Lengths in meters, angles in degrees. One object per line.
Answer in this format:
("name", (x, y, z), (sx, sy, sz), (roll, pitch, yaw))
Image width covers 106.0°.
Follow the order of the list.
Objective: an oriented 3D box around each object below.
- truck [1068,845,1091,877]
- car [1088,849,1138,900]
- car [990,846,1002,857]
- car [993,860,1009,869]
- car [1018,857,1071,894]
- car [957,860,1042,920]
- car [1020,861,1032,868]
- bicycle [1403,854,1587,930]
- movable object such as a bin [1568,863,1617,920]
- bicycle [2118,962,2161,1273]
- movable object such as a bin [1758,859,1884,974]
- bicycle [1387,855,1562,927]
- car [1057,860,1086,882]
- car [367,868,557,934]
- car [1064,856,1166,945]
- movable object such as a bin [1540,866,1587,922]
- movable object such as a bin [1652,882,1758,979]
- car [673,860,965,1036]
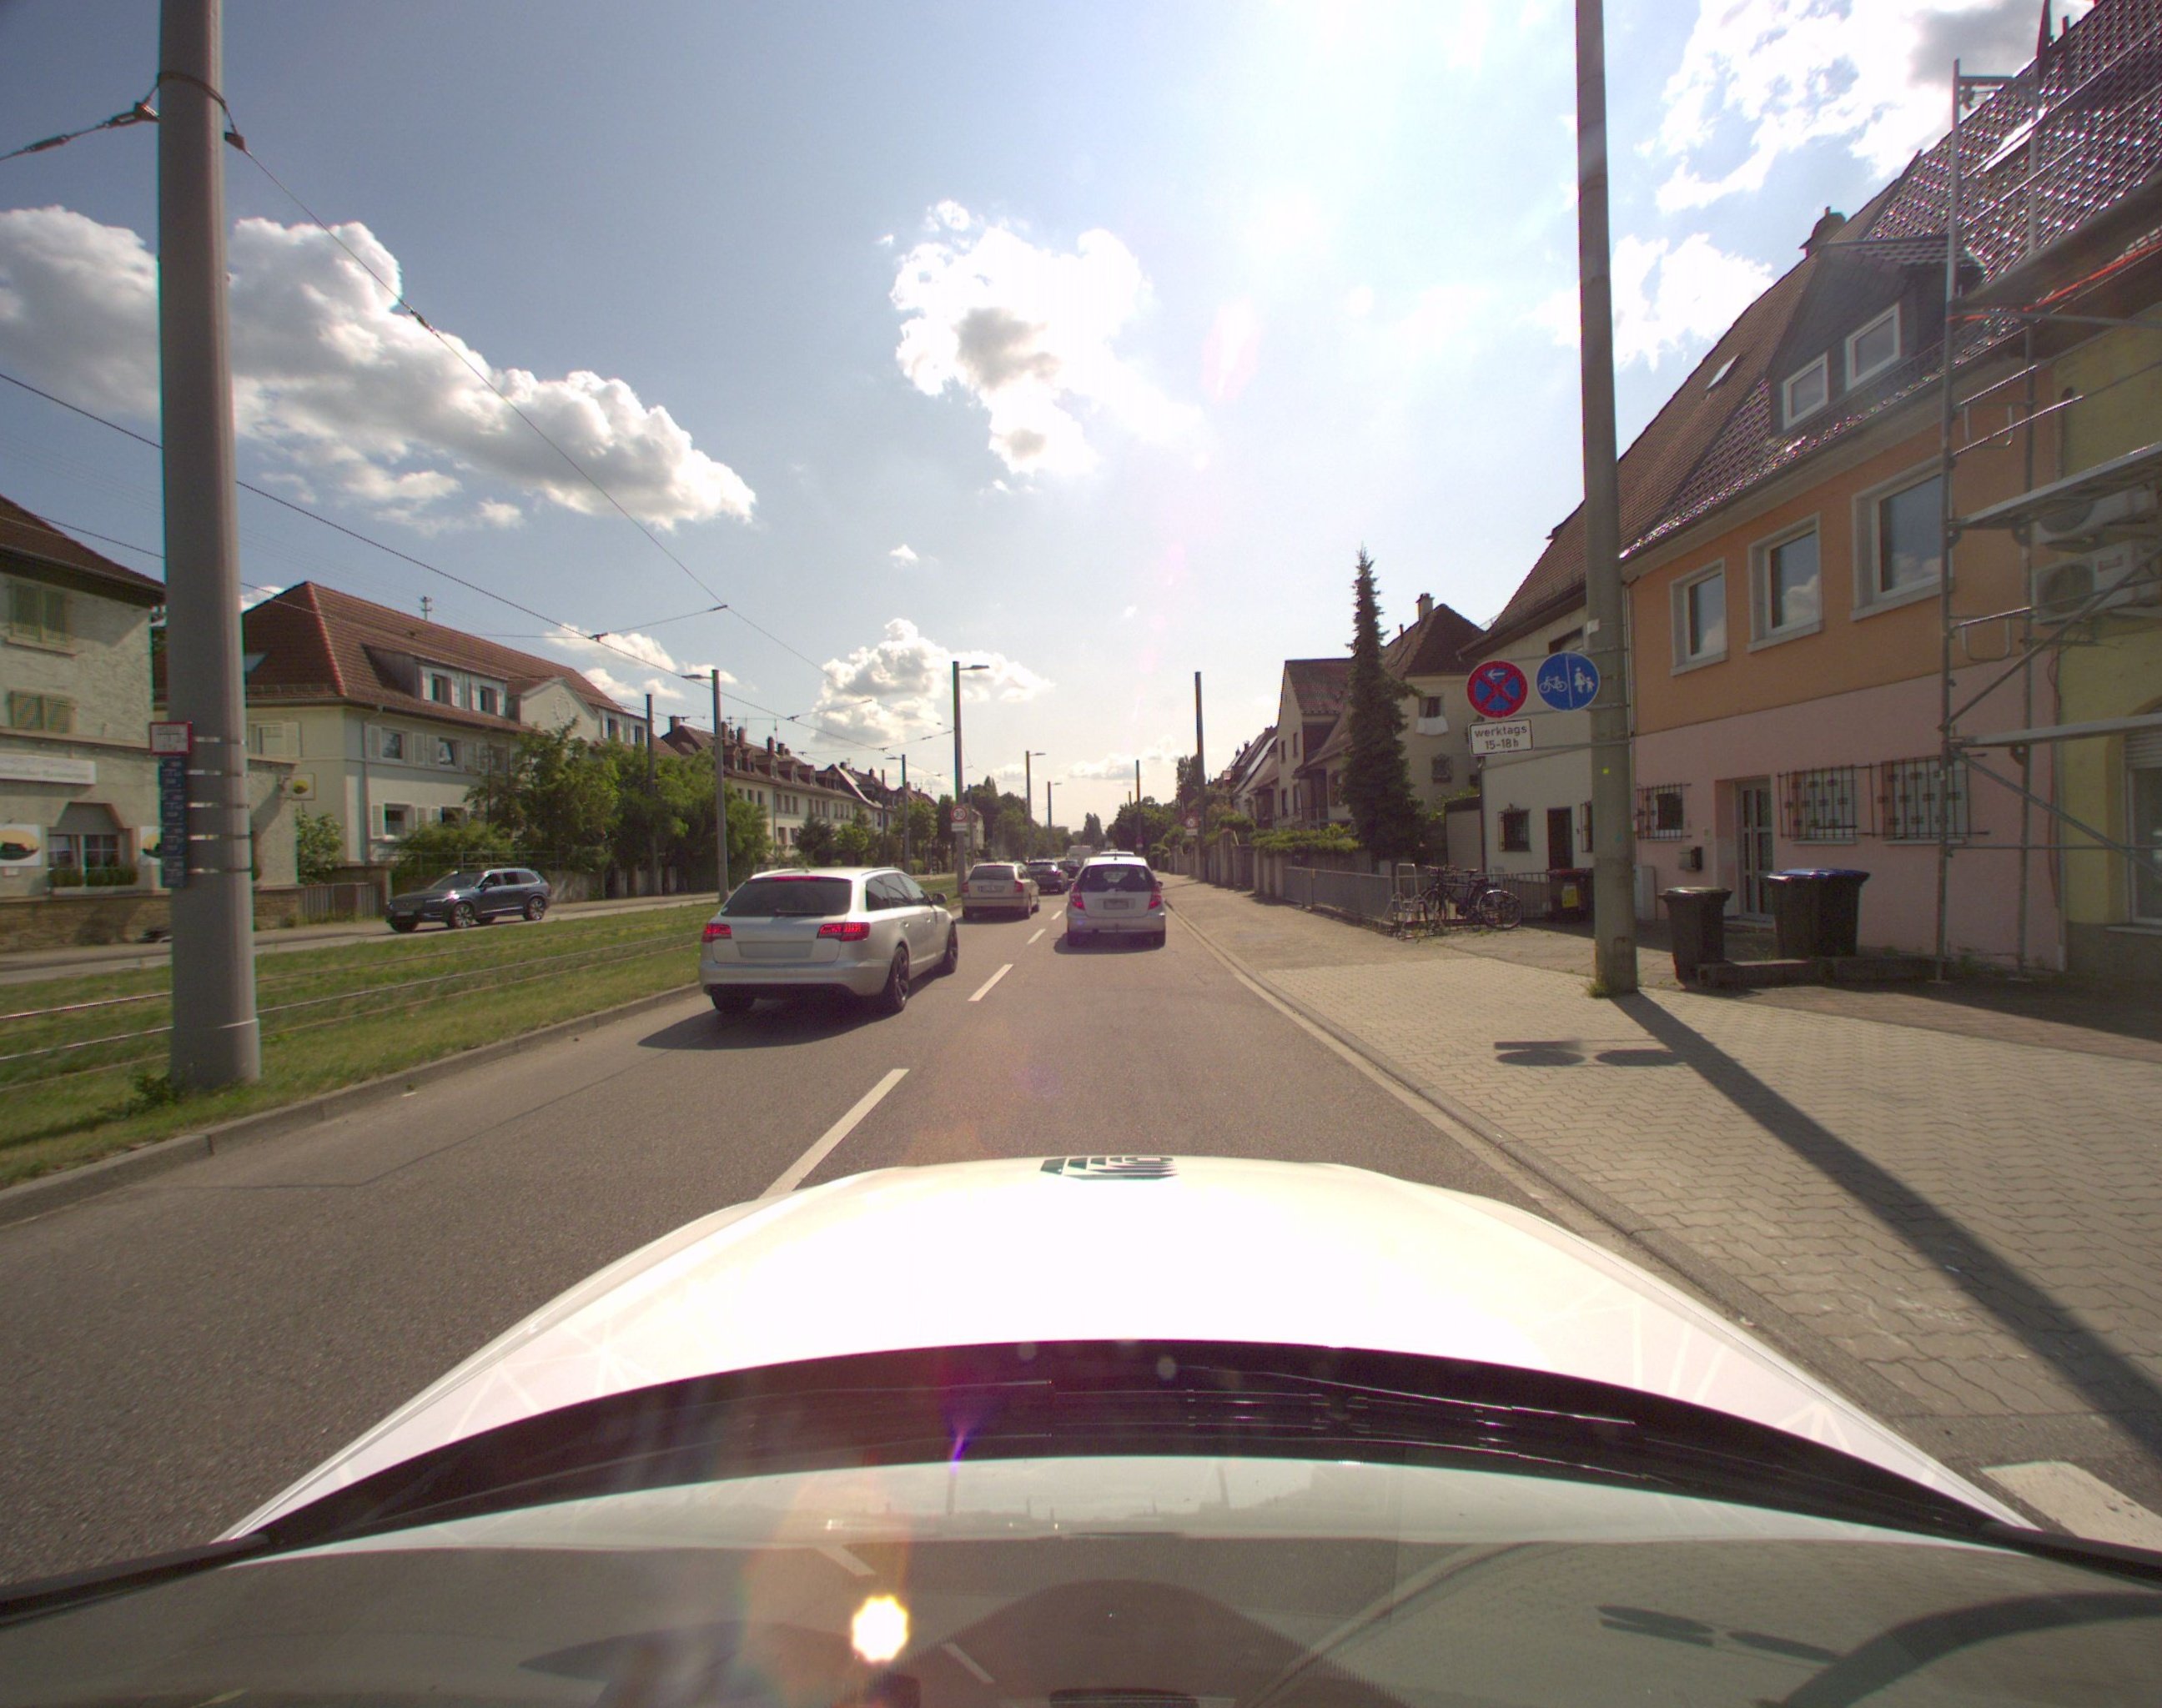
("truck", (-0.100, 0.575, 66.883), (1.846, 2.552, 5.854), (0, 0, 0))
("car", (1.176, 0.708, 30.305), (1.723, 1.762, 4.018), (0, 0, 2))
("car", (-17.905, -0.532, 171.510), (1.908, 2.330, 4.567), (0, 0, 4))
("car", (-13.441, 1.699, 137.097), (1.908, 1.477, 4.567), (0, 0, 4))
("car", (-1.549, 0.904, 36.081), (1.908, 1.477, 4.566), (0, 0, 3))
("car", (-2.094, 0.895, 22.045), (1.724, 1.449, 4.125), (0, 0, 2))
("car", (-11.516, 2.246, 171.887), (1.908, 1.477, 4.567), (0, 0, 4))
("bicycle", (6.924, 0.624, 13.706), (2.652, 1.105, 0.786), (-3, -1, 1))
("movable object such as a bin", (8.844, 0.647, 14.099), (0.466, 0.946, 0.558), (-2, -1, 2))
("bicycle", (4.178, 0.924, 1.962), (0.825, 1.075, 1.971), (-3, 1, 0))
("movable object such as a bin", (7.522, 0.607, 8.317), (0.509, 1.105, 0.855), (-1, -1, 2))
("bicycle", (6.924, 0.636, 14.420), (2.716, 1.119, 0.691), (-3, -1, 1))
("car", (-0.571, 1.118, 54.496), (1.846, 1.388, 4.514), (0, 0, 0))
("car", (-18.974, 1.371, 25.340), (2.007, 1.711, 4.938), (-3, 0, 1))
("car", (0.595, 0.798, 15.842), (1.724, 1.517, 4.016), (0, 0, 0))
("movable object such as a bin", (8.356, 0.683, 14.115), (0.466, 0.946, 0.558), (-2, -1, 2))
("movable object such as a bin", (6.317, 0.755, 8.281), (0.509, 0.918, 0.742), (-1, -1, 2))
("car", (-2.662, 0.854, 9.594), (1.788, 1.472, 4.723), (-1, 0, 1))
